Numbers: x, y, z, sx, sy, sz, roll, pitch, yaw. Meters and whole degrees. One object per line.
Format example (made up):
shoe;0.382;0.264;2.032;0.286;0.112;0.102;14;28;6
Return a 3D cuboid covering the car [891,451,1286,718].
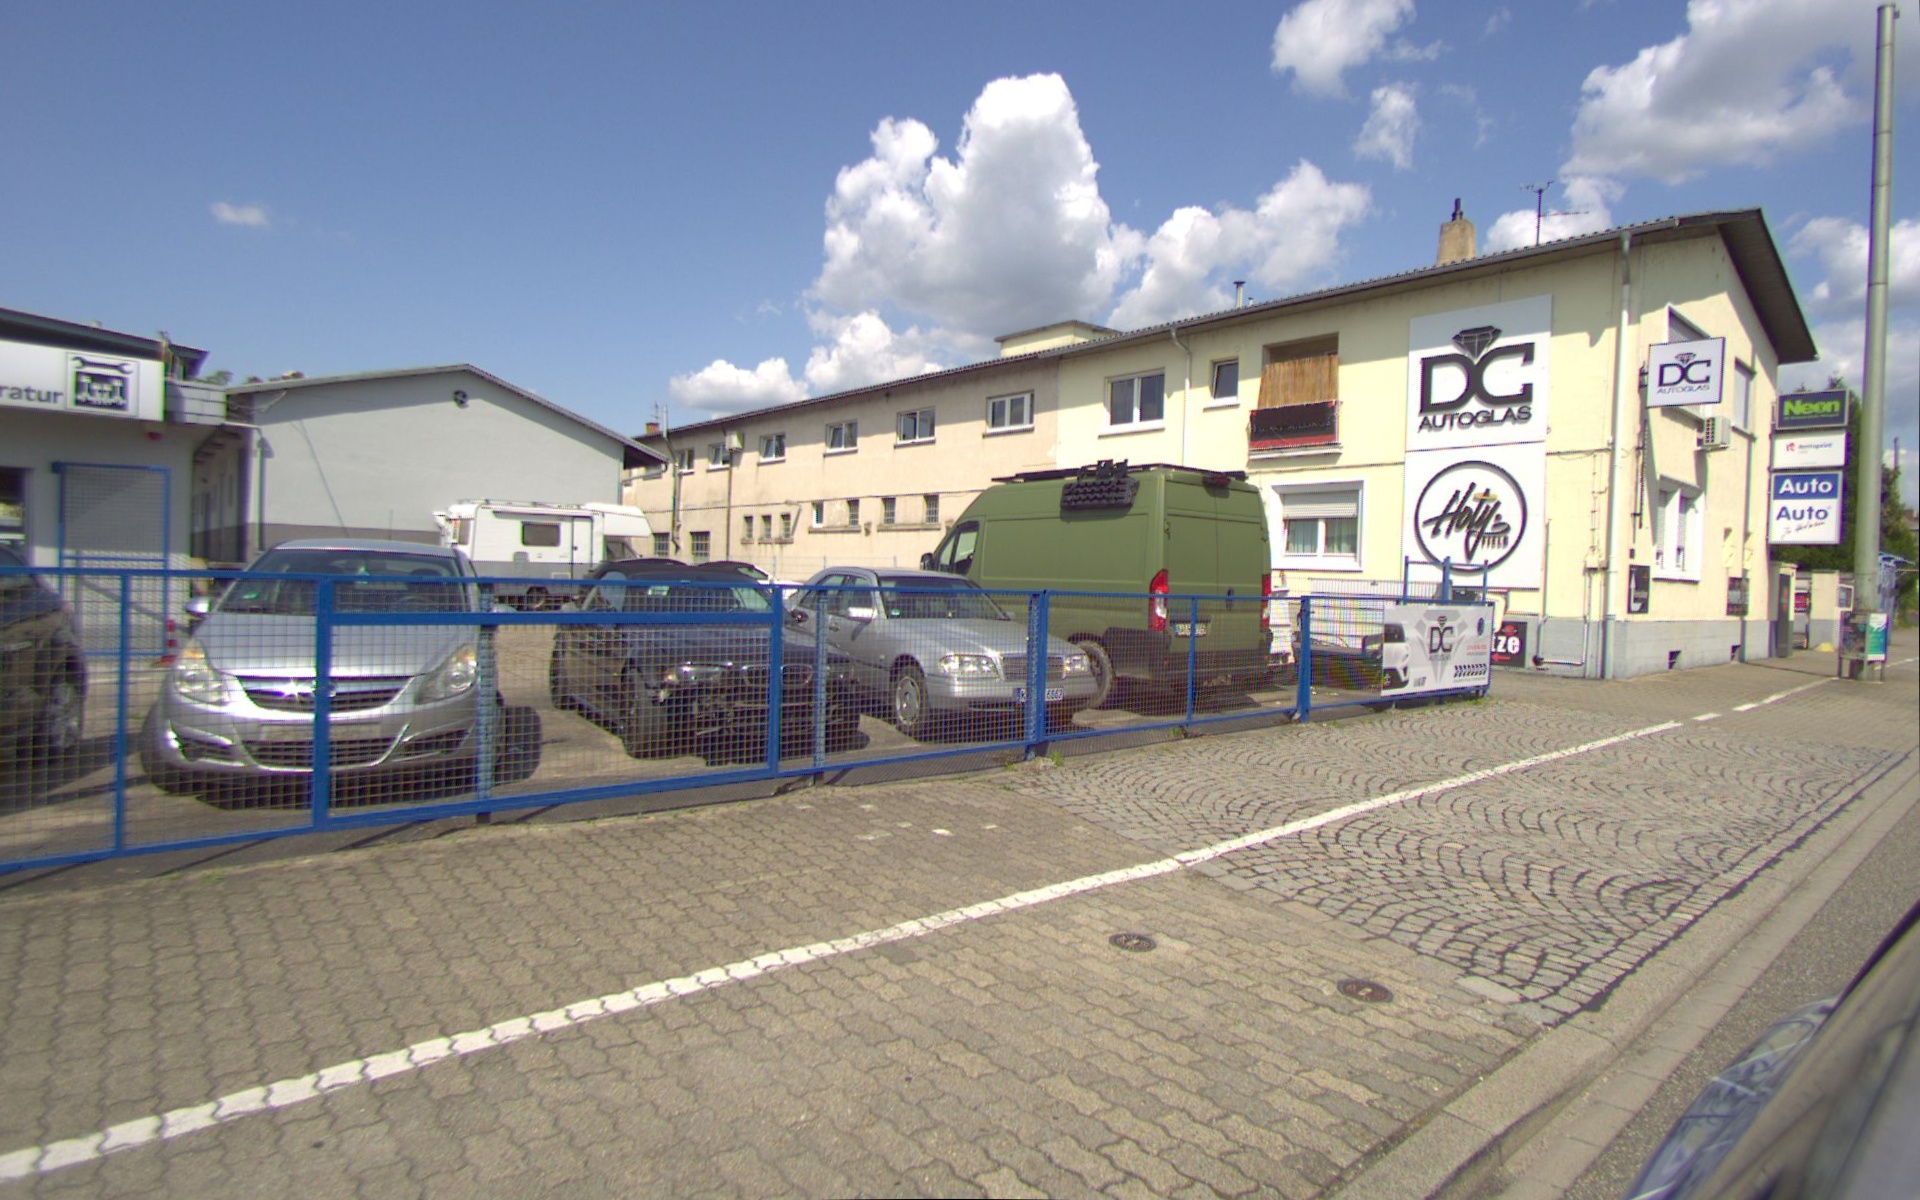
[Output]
car;1.345;-0.243;12.324;2.112;2.605;4.549;0;2;-38

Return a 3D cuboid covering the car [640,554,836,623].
car;-5.070;-0.289;23.439;4.109;1.433;1.756;-1;3;-42

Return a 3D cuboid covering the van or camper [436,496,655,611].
van or camper;-11.100;-1.217;27.334;4.978;2.807;2.311;-1;3;-44

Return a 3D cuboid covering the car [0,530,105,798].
car;-5.773;0.363;4.660;1.675;1.460;4.009;1;2;-23

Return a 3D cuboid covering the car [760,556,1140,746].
car;-0.339;0.323;10.086;1.785;1.449;4.200;0;2;-33

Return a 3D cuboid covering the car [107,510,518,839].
car;-3.981;0.271;6.827;1.714;1.515;4.008;1;2;-25

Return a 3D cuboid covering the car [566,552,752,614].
car;-7.616;-0.448;25.798;4.109;1.405;1.925;-1;3;-42

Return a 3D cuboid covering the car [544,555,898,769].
car;-2.281;0.330;8.745;1.784;1.372;4.004;0;2;-32

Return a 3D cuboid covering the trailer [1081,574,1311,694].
trailer;3.106;0.381;13.644;1.280;1.349;2.789;0;3;-40
